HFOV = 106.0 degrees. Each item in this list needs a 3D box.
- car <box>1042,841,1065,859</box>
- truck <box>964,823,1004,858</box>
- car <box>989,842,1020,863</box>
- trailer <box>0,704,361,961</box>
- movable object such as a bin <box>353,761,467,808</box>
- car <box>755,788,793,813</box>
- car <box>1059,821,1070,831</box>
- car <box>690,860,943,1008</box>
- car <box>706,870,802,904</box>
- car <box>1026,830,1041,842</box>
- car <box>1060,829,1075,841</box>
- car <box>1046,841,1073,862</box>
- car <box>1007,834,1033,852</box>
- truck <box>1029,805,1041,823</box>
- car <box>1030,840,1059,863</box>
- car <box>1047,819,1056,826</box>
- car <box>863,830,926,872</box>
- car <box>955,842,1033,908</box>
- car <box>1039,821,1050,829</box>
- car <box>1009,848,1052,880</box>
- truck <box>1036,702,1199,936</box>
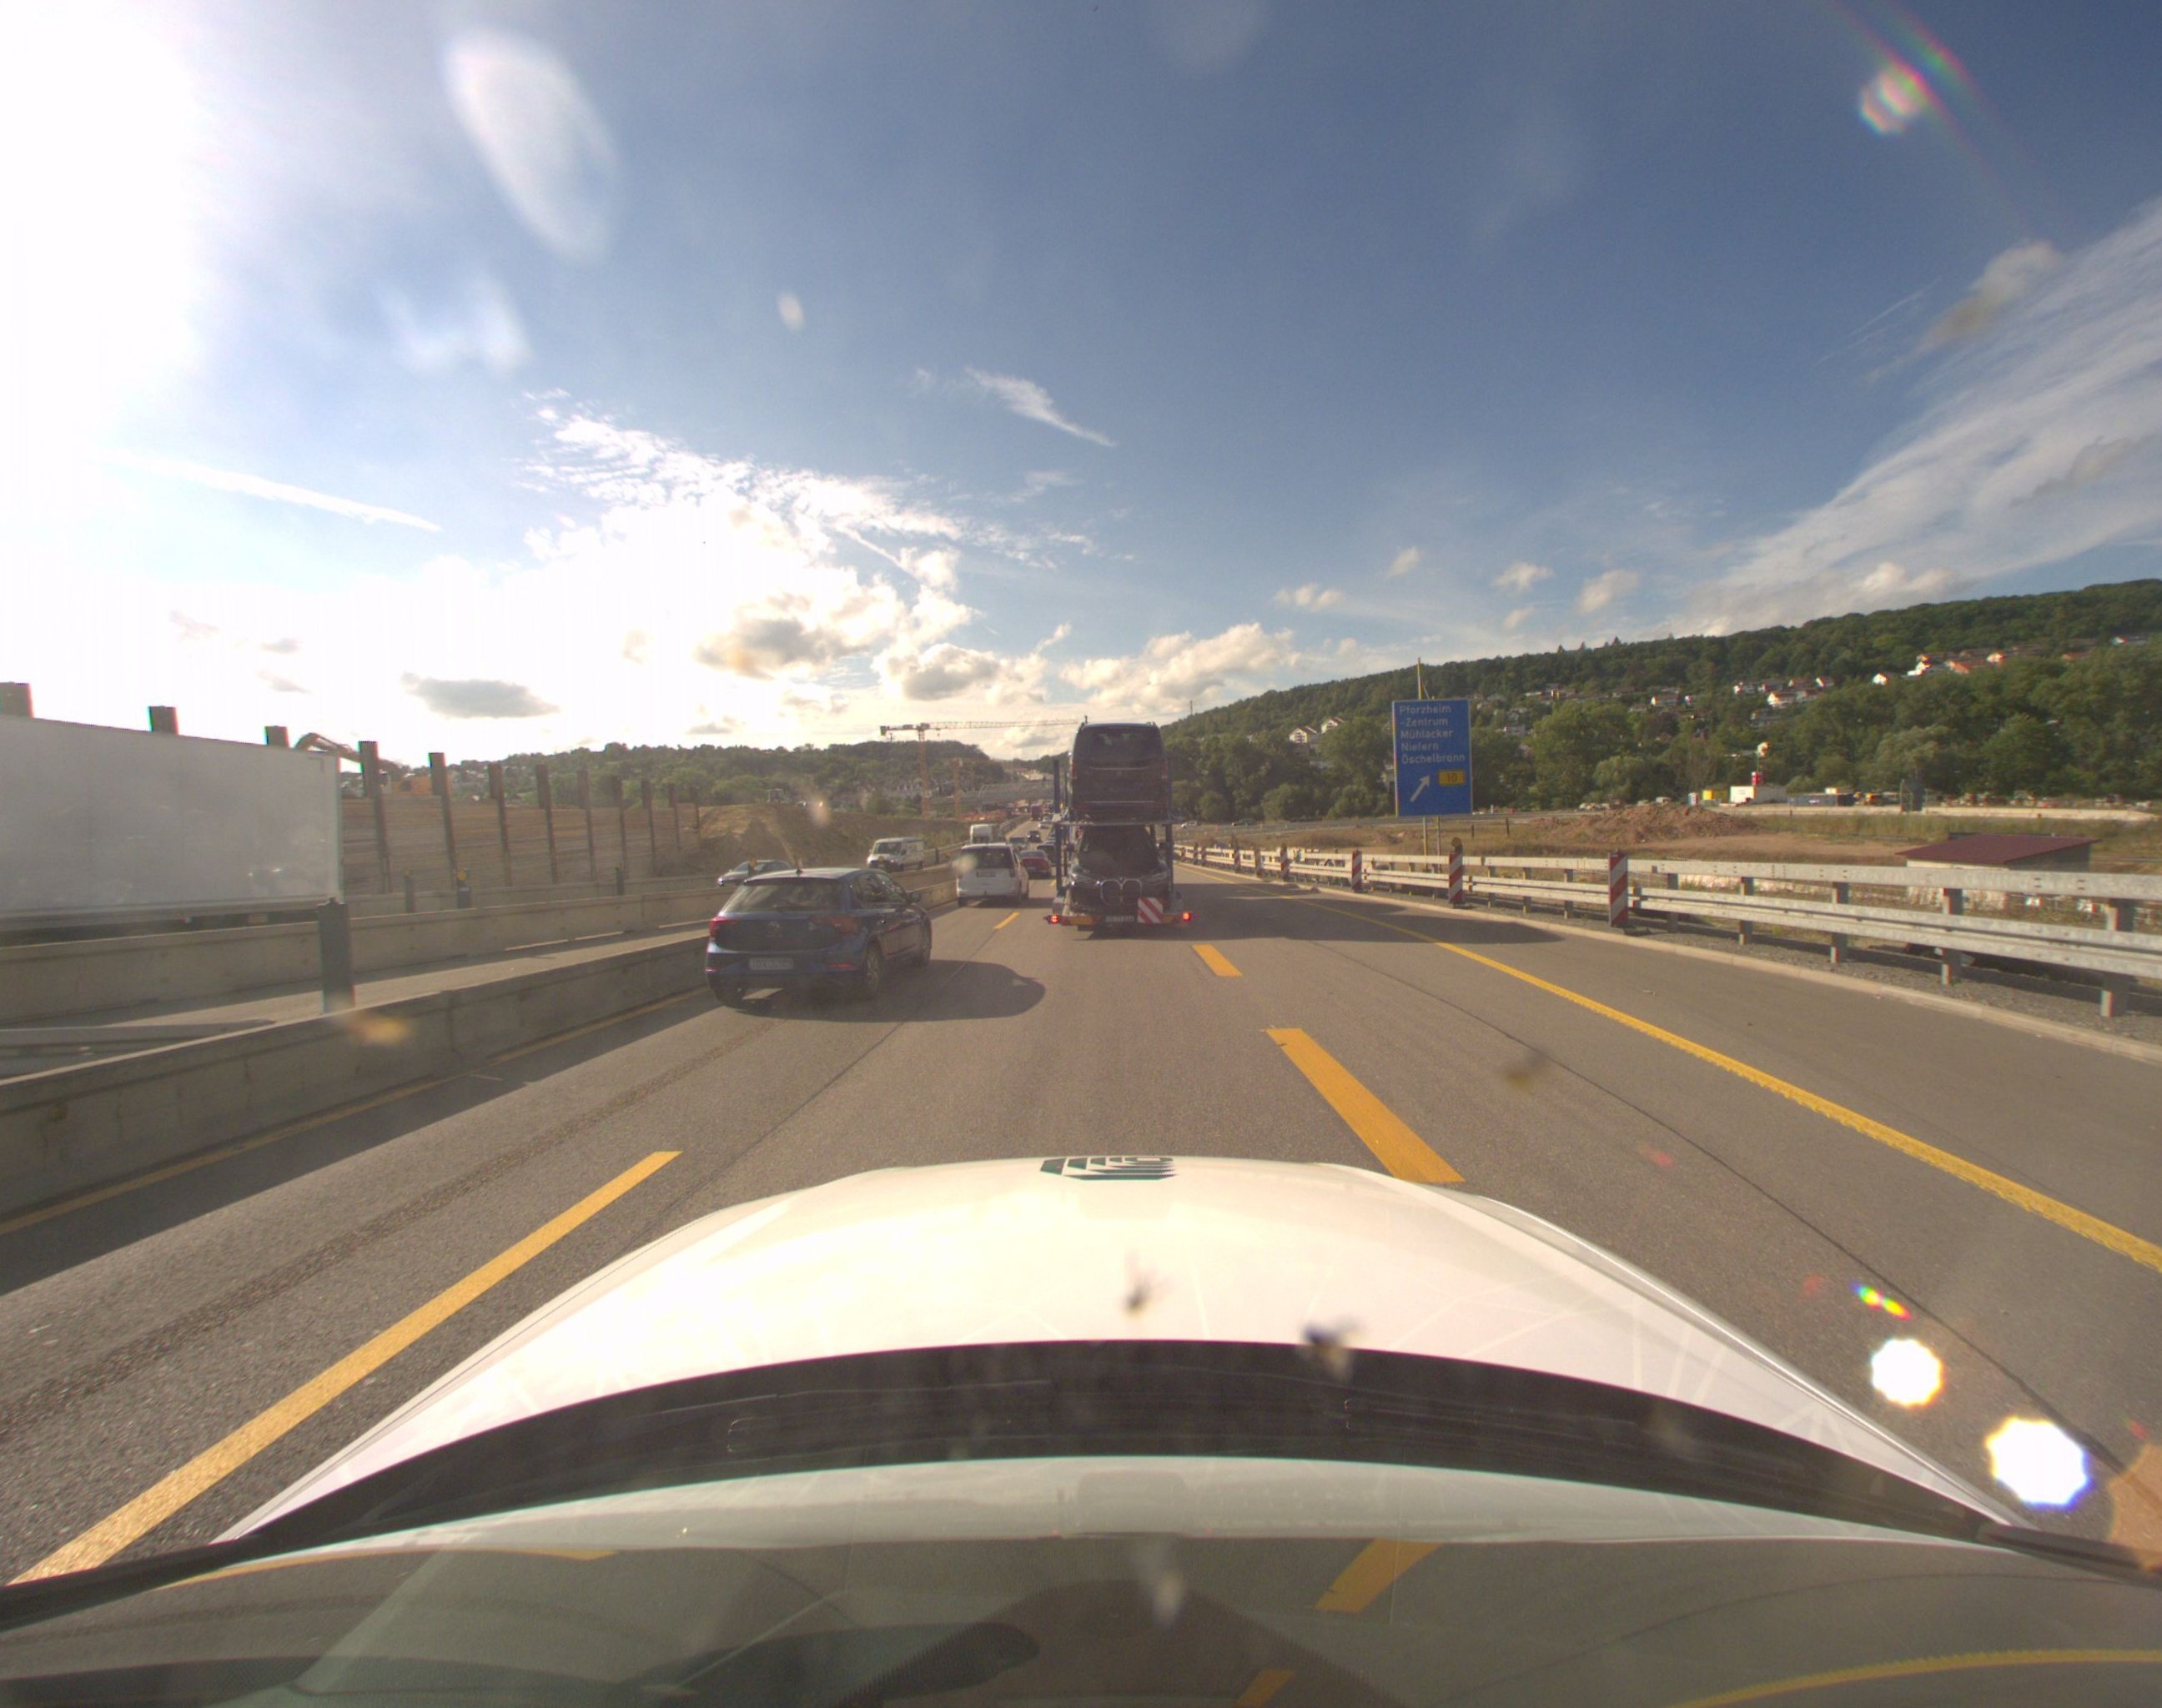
[{"bbox_3d":[-2.562,-0.348,76.600,1.986,1.666,4.001,-1,-1,1],"label":"car"},{"bbox_3d":[-9.900,-1.285,83.502,2.689,3.311,7.544,-1,-1,3],"label":"truck"},{"bbox_3d":[-6.269,-0.107,67.181,2.118,1.674,4.273,0,1,1],"label":"car"},{"bbox_3d":[-17.776,-0.300,10.792,2.805,3.841,13.832,-1,-1,7],"label":"trailer"},{"bbox_3d":[-54.650,-5.589,66.469,5.708,3.270,4.525,-1,-1,11],"label":"movable object such as a bin"},{"bbox_3d":[-33.745,-5.854,89.812,1.988,2.140,5.320,-6,0,-1],"label":"car"},{"bbox_3d":[-3.064,-5.092,149.039,1.840,1.648,4.501,-1,1,-3],"label":"car"},{"bbox_3d":[-2.978,0.867,10.100,1.715,1.422,4.000,-1,-2,1],"label":"car"},{"bbox_3d":[-13.861,1.391,34.788,1.908,1.273,4.011,-1,-1,10],"label":"car"},{"bbox_3d":[-6.821,-2.606,118.018,1.847,1.635,4.748,0,1,0],"label":"car"},{"bbox_3d":[-1.992,-2.843,123.003,1.986,1.552,4.001,-1,-1,1],"label":"car"},{"bbox_3d":[-1.705,-0.188,65.561,1.986,1.552,4.001,-1,-1,1],"label":"car"},{"bbox_3d":[-6.153,-1.104,82.460,2.118,1.766,5.032,0,1,1],"label":"car"},{"bbox_3d":[-11.480,-9.926,204.091,2.908,4.386,6.278,0,1,-4],"label":"truck"},{"bbox_3d":[-2.616,-0.168,59.177,1.988,1.552,3.997,-1,-1,-2],"label":"car"},{"bbox_3d":[-6.604,-7.049,182.364,1.748,1.439,3.805,-1,1,1],"label":"car"},{"bbox_3d":[-11.490,-0.179,50.605,2.249,2.402,5.871,-1,-1,2],"label":"car"},{"bbox_3d":[-2.561,0.605,24.815,1.816,1.792,4.001,-1,-1,1],"label":"car"},{"bbox_3d":[-7.274,-5.849,163.022,1.847,1.439,4.558,-1,1,0],"label":"car"},{"bbox_3d":[-2.604,0.521,42.900,1.988,1.556,4.399,-1,-1,-1],"label":"car"},{"bbox_3d":[0.827,-0.522,23.276,2.743,3.955,18.892,0,-1,1],"label":"truck"}]
